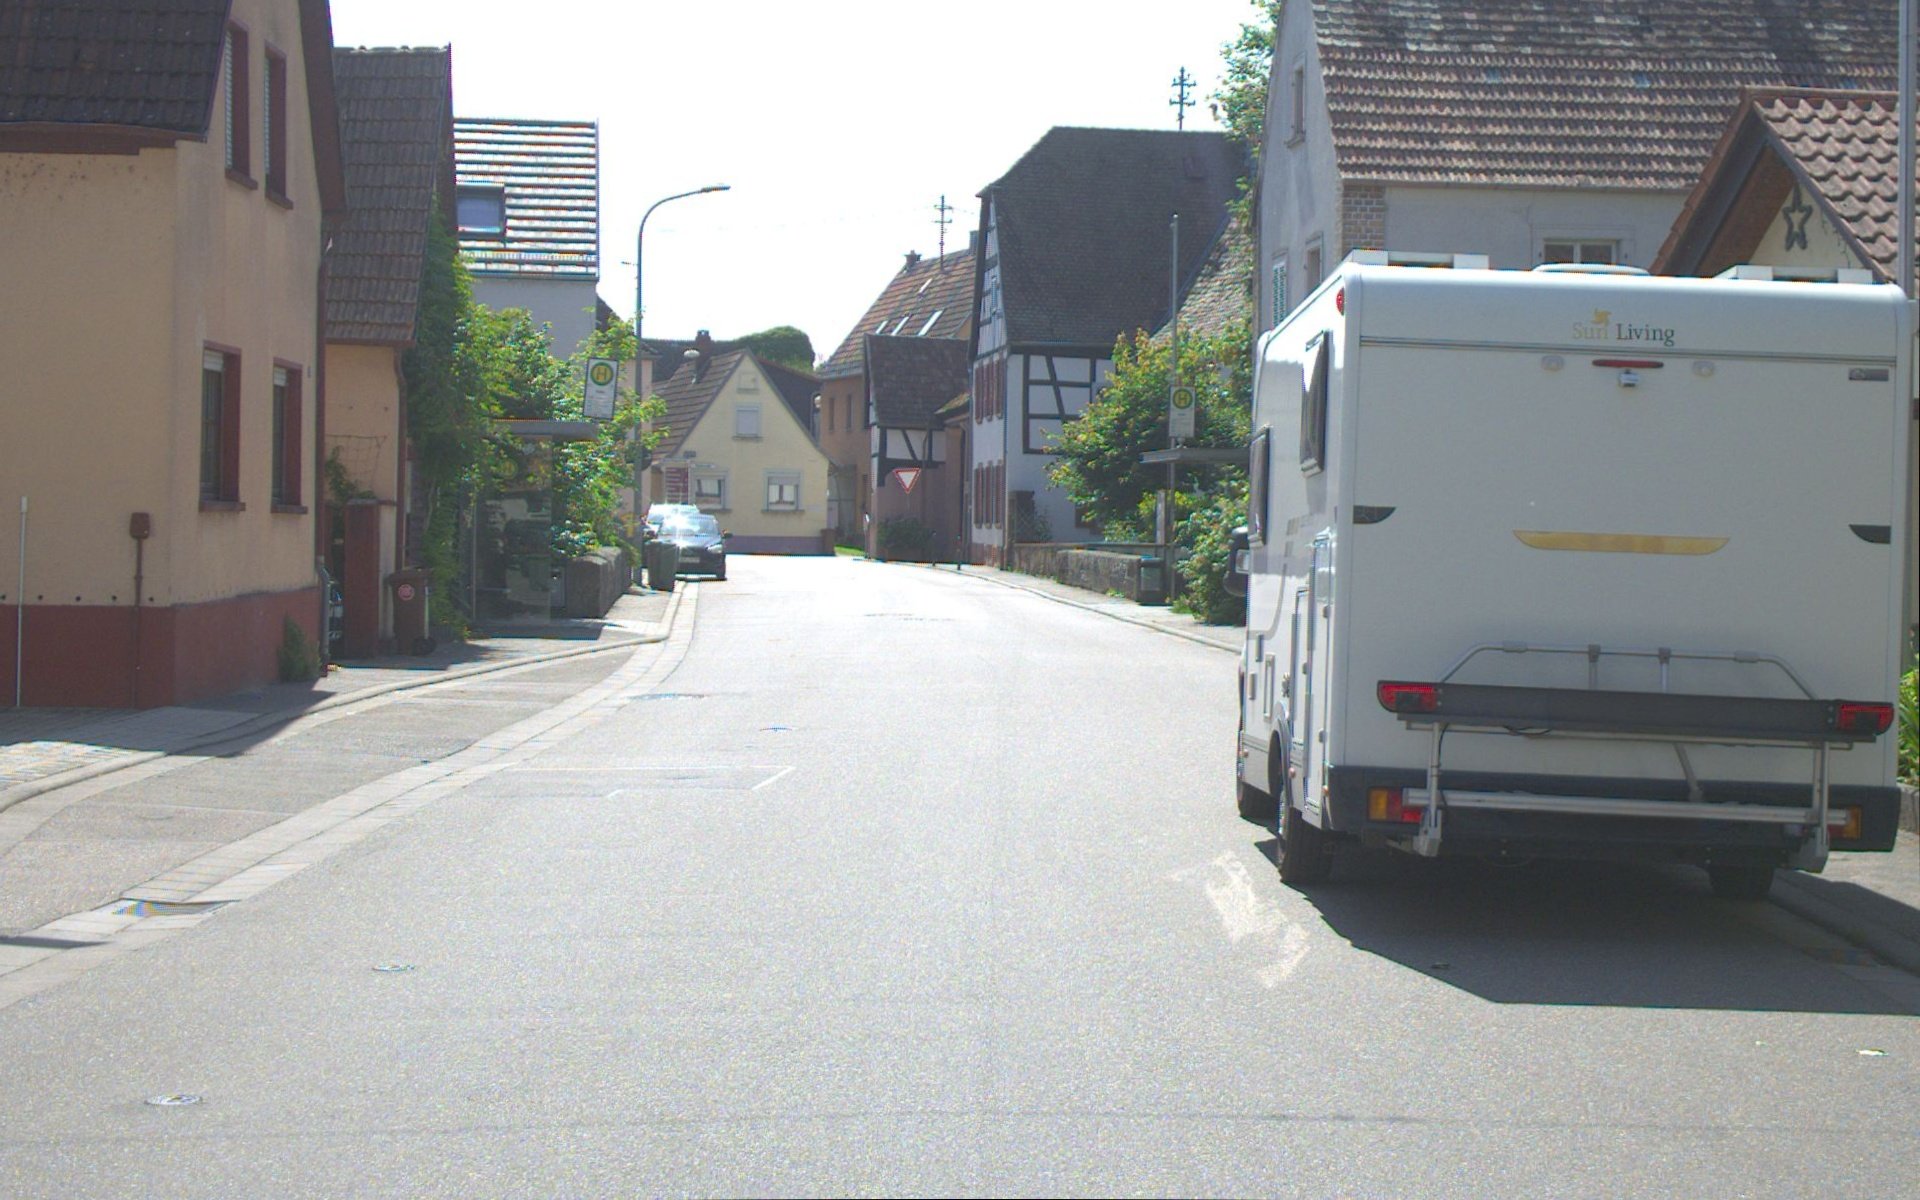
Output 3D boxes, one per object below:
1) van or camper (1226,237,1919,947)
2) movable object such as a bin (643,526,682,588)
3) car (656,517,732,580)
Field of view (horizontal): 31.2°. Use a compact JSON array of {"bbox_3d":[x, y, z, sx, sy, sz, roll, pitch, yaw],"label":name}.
[{"bbox_3d":[2.658,-0.067,15.453,2.521,2.687,4.555,1,1,0],"label":"van or camper"},{"bbox_3d":[-5.753,-0.836,66.500,0.688,1.181,0.714,0,1,-1],"label":"movable object such as a bin"},{"bbox_3d":[-6.078,-1.195,78.952,1.511,1.431,3.511,0,1,-1],"label":"car"}]
